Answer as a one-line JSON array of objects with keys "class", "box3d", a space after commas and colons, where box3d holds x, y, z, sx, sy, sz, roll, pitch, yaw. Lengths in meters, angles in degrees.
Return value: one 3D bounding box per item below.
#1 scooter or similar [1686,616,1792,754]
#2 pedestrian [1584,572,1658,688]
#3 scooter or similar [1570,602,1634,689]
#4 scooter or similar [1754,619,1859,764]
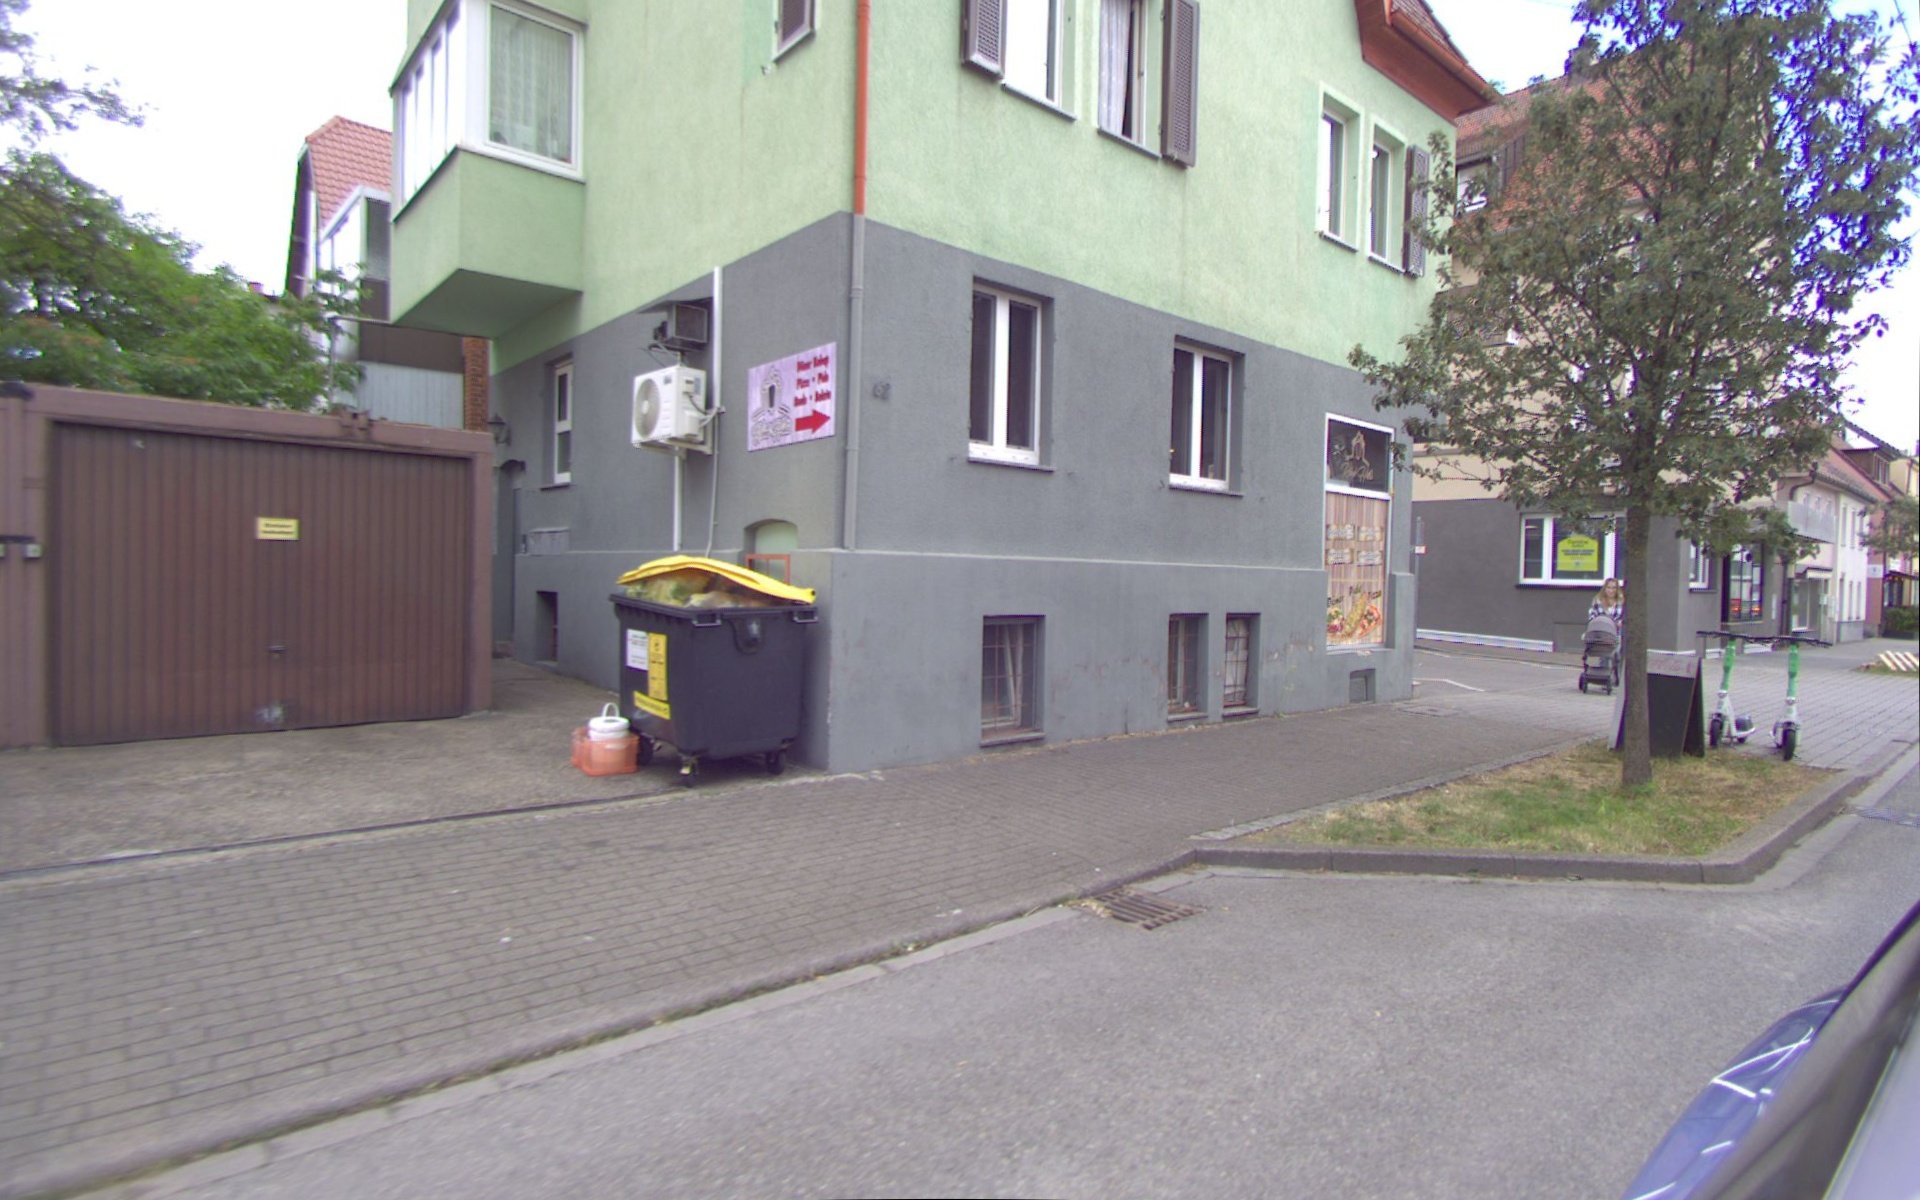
[{"class": "scooter or similar", "box3d": [7.941, 0.805, 10.290, 1.909, 1.251, 0.502, 0, 1, -42]}, {"class": "pedestrian", "box3d": [10.333, 0.443, 15.819, 0.884, 1.741, 0.752, 0, 0, -41]}, {"class": "scooter or similar", "box3d": [9.651, 0.669, 15.216, 0.876, 1.248, 0.590, 0, 0, -42]}, {"class": "scooter or similar", "box3d": [8.291, 0.833, 9.886, 1.909, 1.251, 0.502, 0, 1, -42]}]
